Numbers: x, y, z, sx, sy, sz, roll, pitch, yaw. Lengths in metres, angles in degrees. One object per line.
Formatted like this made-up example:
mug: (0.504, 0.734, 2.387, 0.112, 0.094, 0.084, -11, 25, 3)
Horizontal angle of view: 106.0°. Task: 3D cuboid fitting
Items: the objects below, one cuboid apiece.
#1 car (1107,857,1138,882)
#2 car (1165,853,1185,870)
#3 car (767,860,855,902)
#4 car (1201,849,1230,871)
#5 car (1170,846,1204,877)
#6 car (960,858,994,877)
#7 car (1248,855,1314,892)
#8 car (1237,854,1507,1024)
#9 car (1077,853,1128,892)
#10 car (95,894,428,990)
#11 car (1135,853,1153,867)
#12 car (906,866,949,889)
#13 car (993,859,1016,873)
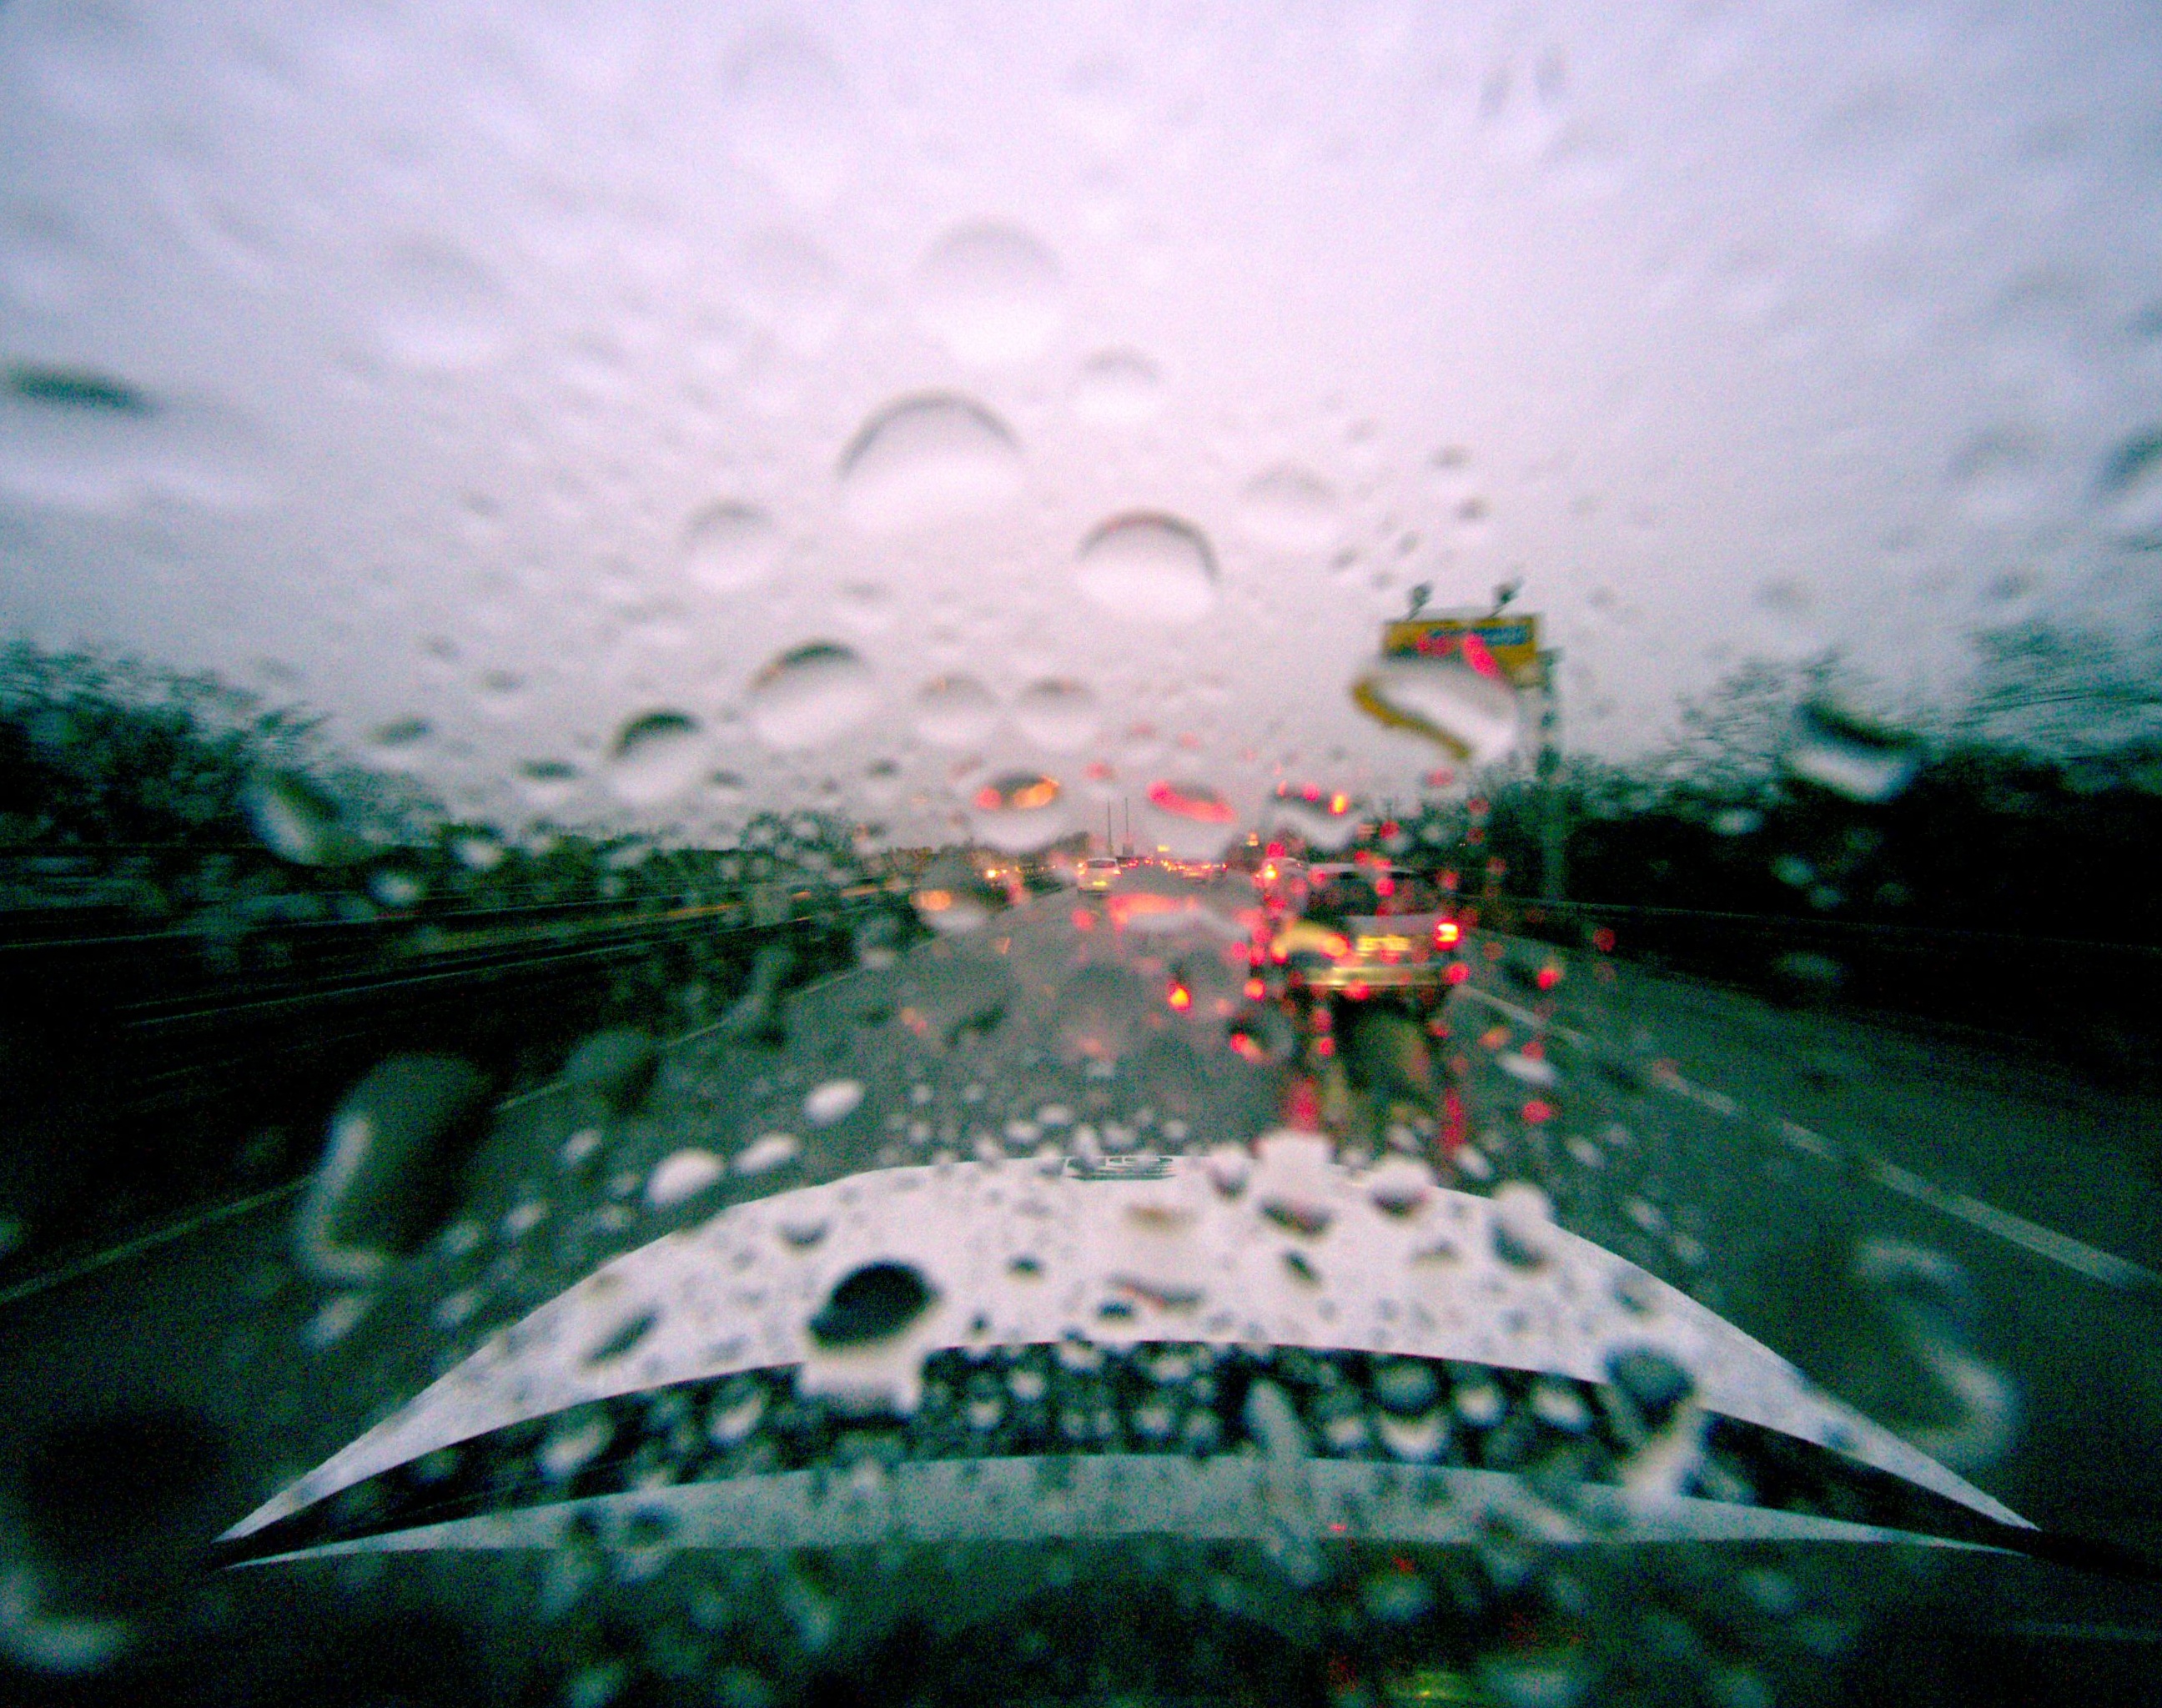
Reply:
car: (2.874, 1.033, 55.674, 1.984, 1.601, 4.314, 0, 0, 5)
car: (9.171, 0.698, 79.811, 1.781, 1.545, 4.005, -1, 0, 5)
car: (-11.083, 1.056, 33.818, 1.778, 1.564, 4.855, -1, 0, 3)
car: (10.316, 0.446, 62.763, 1.781, 1.545, 4.004, -2, 0, 4)
car: (6.242, 0.426, 47.914, 1.887, 1.767, 4.318, -1, 0, 8)
car: (-9.052, 1.167, 71.255, 1.886, 1.464, 4.835, -2, 0, 4)
car: (8.099, 0.759, 33.259, 1.984, 1.345, 4.005, -1, 0, 4)
car: (3.040, 0.793, 9.503, 1.984, 1.500, 4.144, -2, 0, 6)
car: (0.925, 0.684, 32.675, 1.715, 1.440, 4.232, -1, 0, 6)
car: (-15.817, 1.619, 16.112, 1.774, 1.404, 4.324, -1, 0, 12)
car: (6.951, 0.668, 90.103, 1.783, 1.545, 4.001, -1, 0, 1)
car: (-10.858, 1.652, 57.817, 1.886, 1.464, 4.465, -2, 0, 4)
car: (-8.574, 1.323, 91.398, 1.886, 1.464, 4.004, -2, 0, 3)
